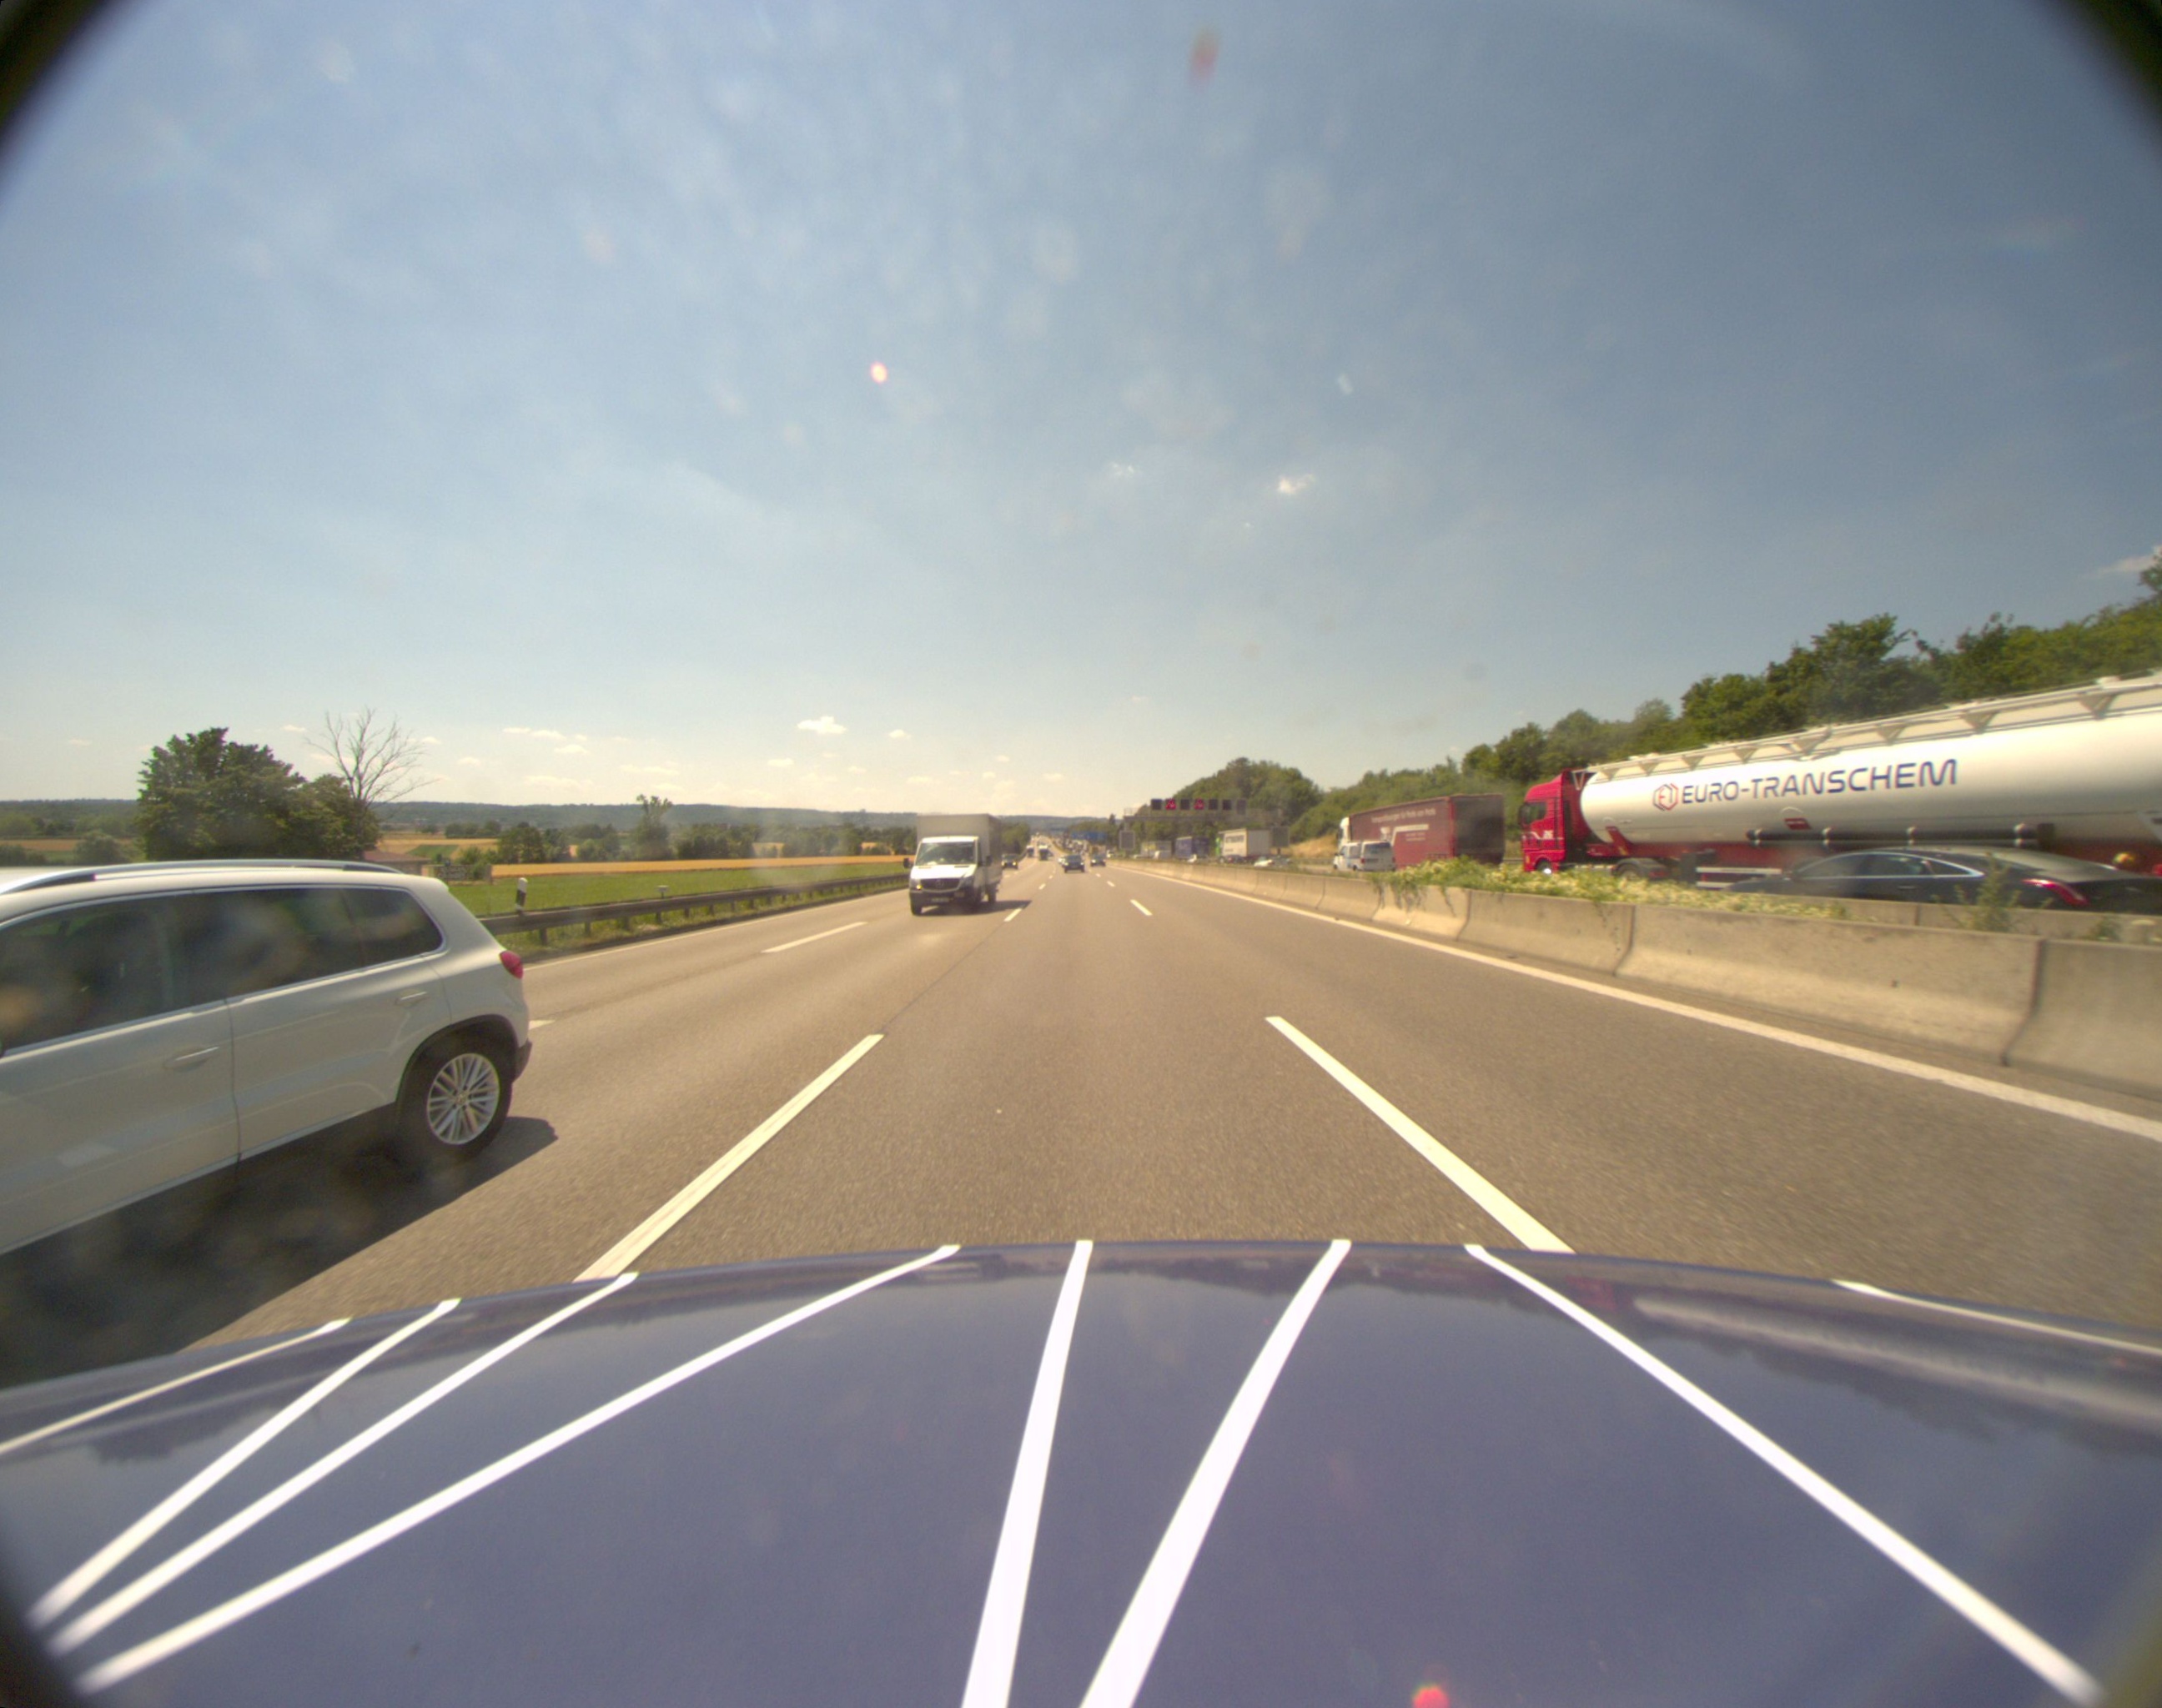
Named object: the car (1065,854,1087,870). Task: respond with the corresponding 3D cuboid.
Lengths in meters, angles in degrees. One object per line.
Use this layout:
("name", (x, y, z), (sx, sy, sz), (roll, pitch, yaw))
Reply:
("car", (-0.448, 0.721, 69.599), (1.866, 1.426, 3.999), (-1, 0, -2))

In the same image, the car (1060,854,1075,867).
("car", (-1.819, 0.868, 99.751), (1.911, 1.615, 3.999), (-1, 0, -1))

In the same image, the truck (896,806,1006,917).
("truck", (-3.959, 0.209, 24.655), (2.445, 3.010, 6.915), (-2, 0, -2))

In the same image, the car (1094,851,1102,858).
("car", (5.043, 0.083, 227.806), (1.999, 2.002, 3.998), (-2, 1, -4))

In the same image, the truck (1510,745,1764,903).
("truck", (15.751, -0.786, 22.204), (2.890, 3.859, 6.085), (-2, 1, 0))

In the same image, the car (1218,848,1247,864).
("car", (14.643, 0.161, 73.444), (1.766, 1.419, 3.998), (-1, 0, -3))

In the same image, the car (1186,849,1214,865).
("car", (11.304, 0.276, 72.507), (1.766, 1.419, 3.998), (-1, 0, -3))

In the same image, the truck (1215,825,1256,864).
("truck", (18.593, -1.115, 91.823), (3.398, 4.419, 6.601), (-2, 1, -1))

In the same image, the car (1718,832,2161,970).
("car", (11.972, 0.481, 10.766), (1.848, 1.461, 4.832), (-2, 1, 0))

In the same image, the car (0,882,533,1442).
("car", (-4.261, 1.021, 2.491), (1.837, 1.635, 4.172), (-2, 0, 0))

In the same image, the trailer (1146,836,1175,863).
("trailer", (13.083, -0.788, 125.527), (3.132, 4.143, 10.196), (-2, 1, -2))

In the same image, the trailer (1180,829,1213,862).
("trailer", (17.803, -1.313, 117.815), (3.020, 4.698, 11.024), (-2, 1, -2))

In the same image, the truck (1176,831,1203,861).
("truck", (17.644, -1.320, 123.667), (3.020, 4.698, 6.685), (-2, 1, -2))

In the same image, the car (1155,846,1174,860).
("car", (10.654, -0.142, 97.127), (1.911, 1.662, 3.999), (-1, 0, -2))

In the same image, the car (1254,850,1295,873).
("car", (11.837, 0.410, 46.615), (1.617, 1.315, 3.424), (-1, 0, 0))

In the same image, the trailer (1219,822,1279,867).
("trailer", (18.677, -1.042, 85.638), (3.363, 4.548, 13.646), (-2, 1, -1))

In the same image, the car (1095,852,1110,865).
("car", (2.811, 0.610, 98.327), (1.807, 1.533, 4.751), (-1, -2, 0))

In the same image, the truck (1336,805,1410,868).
("truck", (19.606, -1.121, 51.301), (2.975, 3.986, 5.132), (-1, 1, 0))

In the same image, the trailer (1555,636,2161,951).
("trailer", (15.704, -0.906, 15.716), (2.945, 4.141, 14.170), (-2, 1, 0))

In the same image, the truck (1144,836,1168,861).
("truck", (12.852, -0.908, 130.492), (3.132, 4.143, 6.234), (-2, 1, -2))

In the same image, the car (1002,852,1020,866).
("car", (-8.890, 0.600, 96.602), (1.911, 1.778, 3.999), (-1, 0, -2))

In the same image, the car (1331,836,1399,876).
("car", (15.395, 0.073, 41.429), (1.961, 2.018, 4.544), (-1, 0, -1))

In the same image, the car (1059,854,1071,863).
("car", (-3.005, 0.885, 141.113), (1.998, 1.467, 4.000), (-2, 1, 1))

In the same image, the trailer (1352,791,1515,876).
("trailer", (19.588, -1.041, 43.855), (2.946, 4.086, 14.083), (-1, 0, 0))
